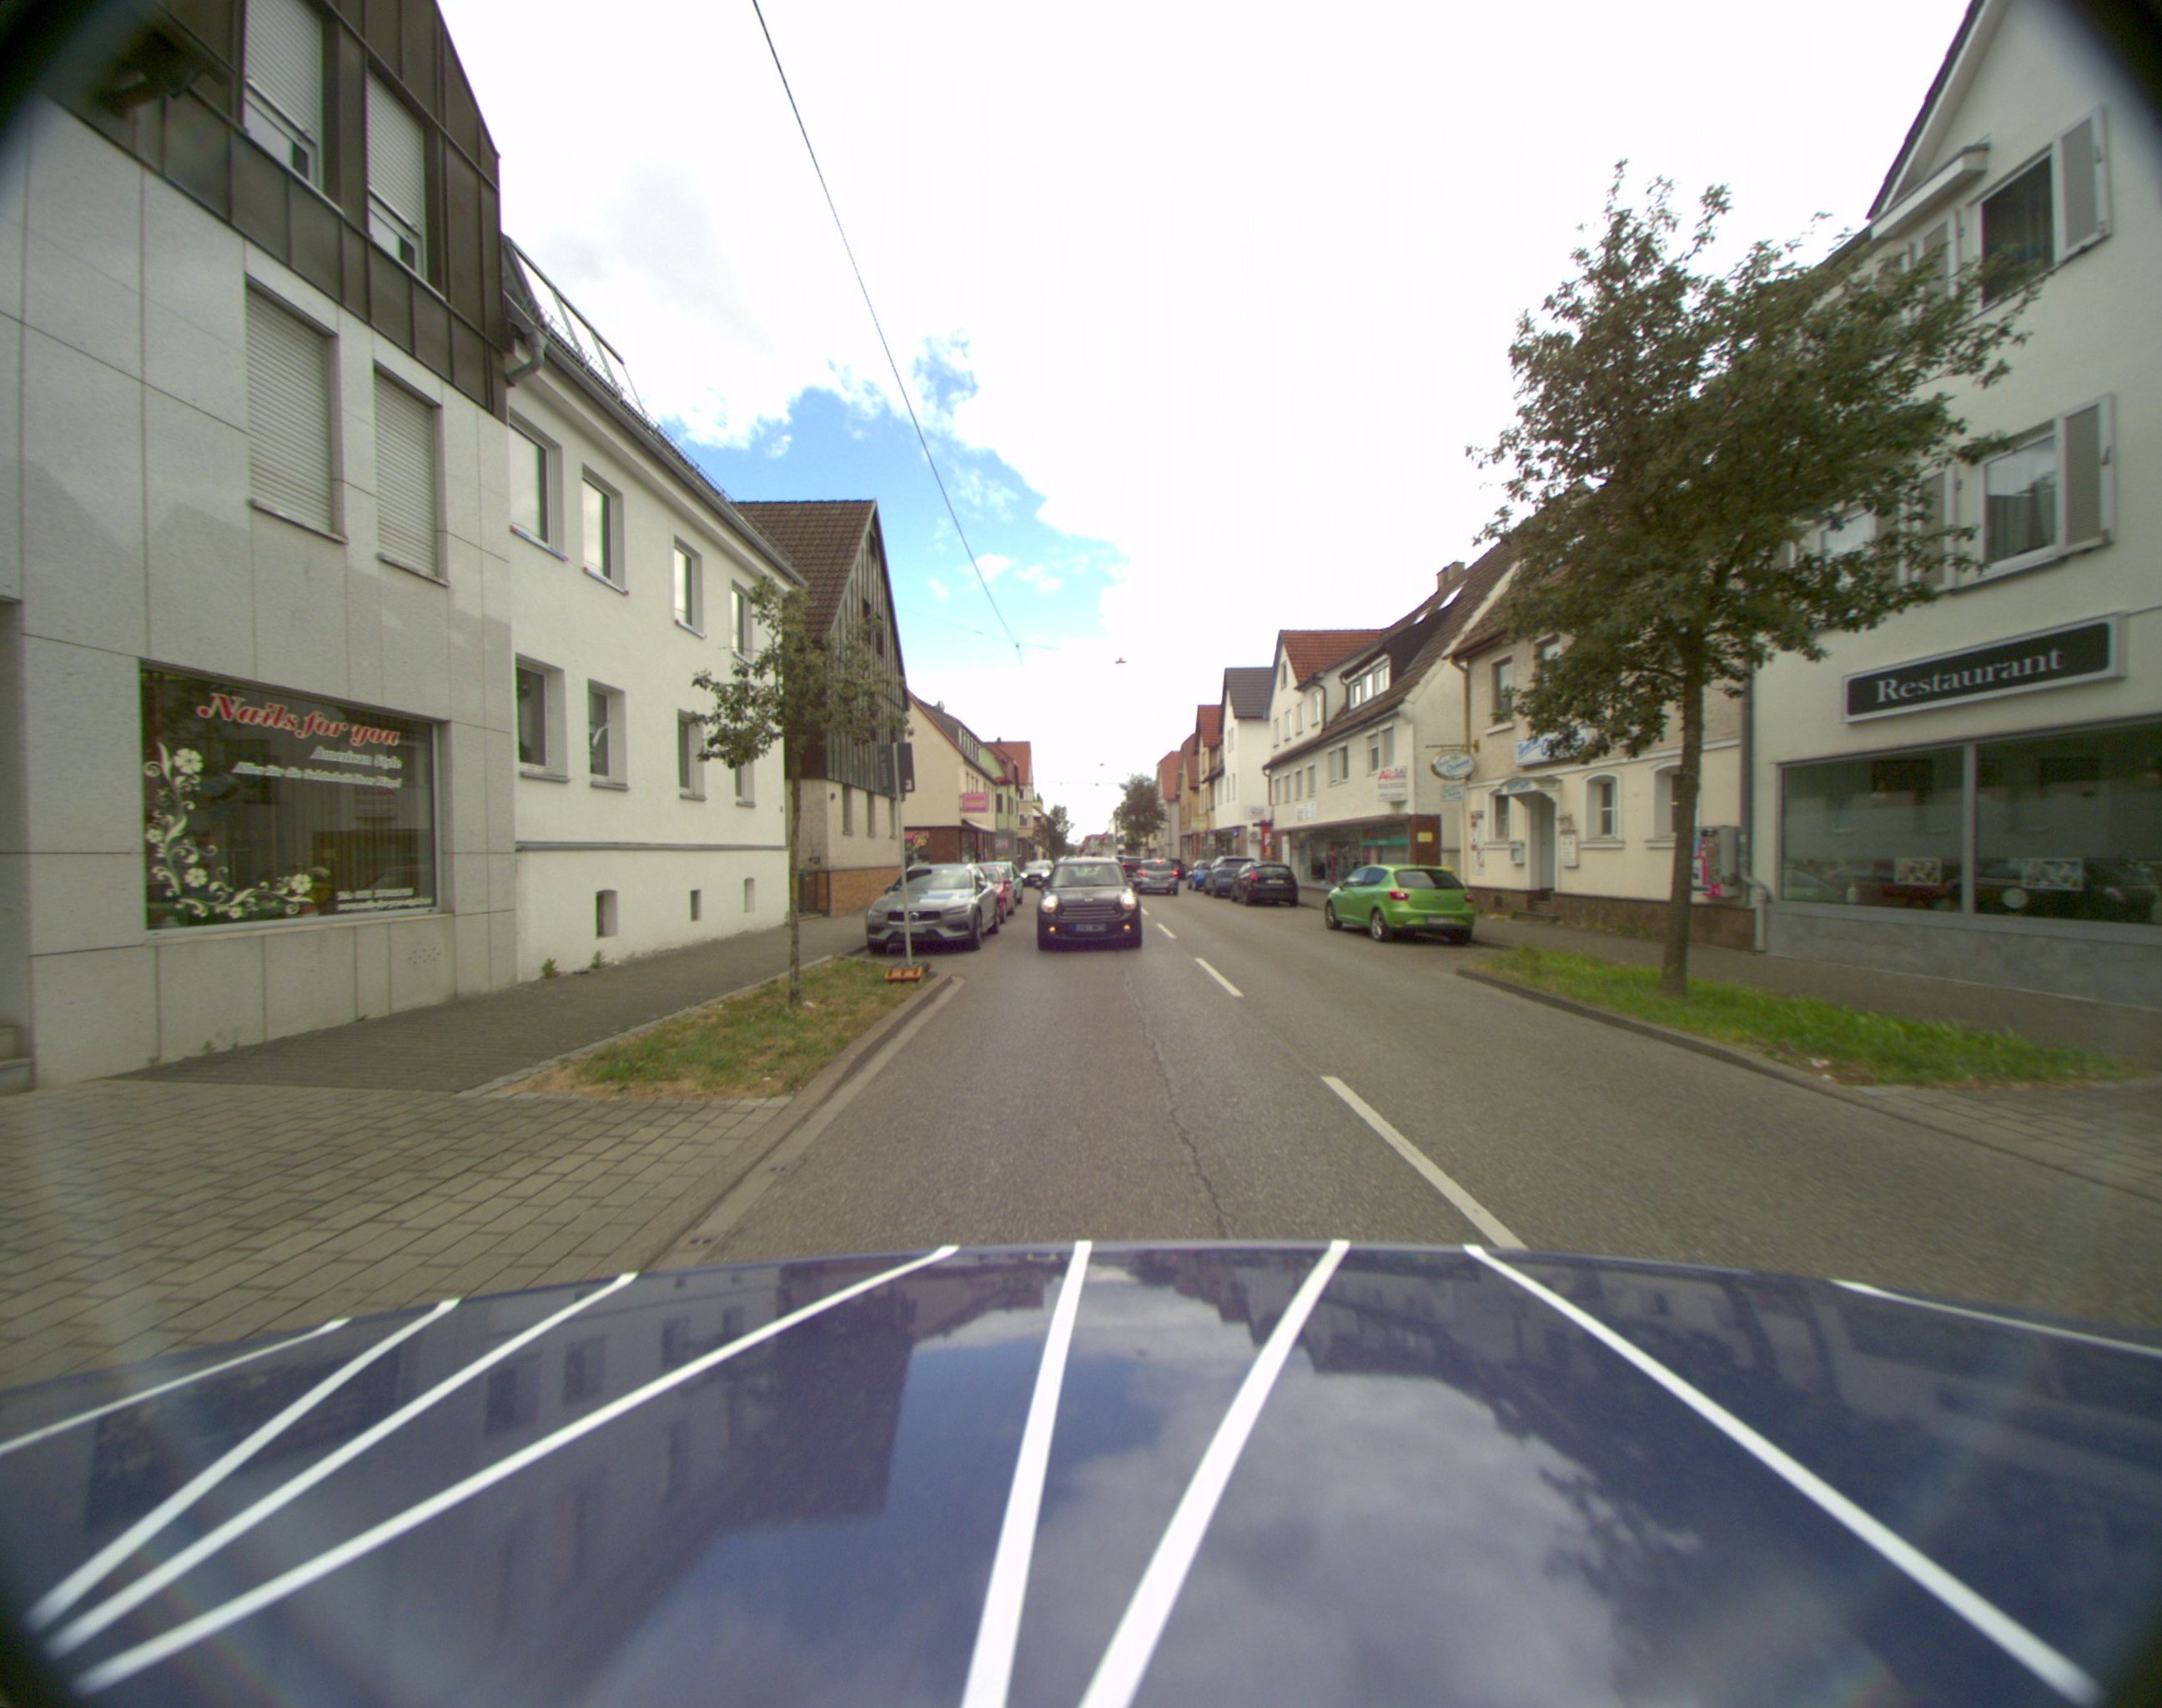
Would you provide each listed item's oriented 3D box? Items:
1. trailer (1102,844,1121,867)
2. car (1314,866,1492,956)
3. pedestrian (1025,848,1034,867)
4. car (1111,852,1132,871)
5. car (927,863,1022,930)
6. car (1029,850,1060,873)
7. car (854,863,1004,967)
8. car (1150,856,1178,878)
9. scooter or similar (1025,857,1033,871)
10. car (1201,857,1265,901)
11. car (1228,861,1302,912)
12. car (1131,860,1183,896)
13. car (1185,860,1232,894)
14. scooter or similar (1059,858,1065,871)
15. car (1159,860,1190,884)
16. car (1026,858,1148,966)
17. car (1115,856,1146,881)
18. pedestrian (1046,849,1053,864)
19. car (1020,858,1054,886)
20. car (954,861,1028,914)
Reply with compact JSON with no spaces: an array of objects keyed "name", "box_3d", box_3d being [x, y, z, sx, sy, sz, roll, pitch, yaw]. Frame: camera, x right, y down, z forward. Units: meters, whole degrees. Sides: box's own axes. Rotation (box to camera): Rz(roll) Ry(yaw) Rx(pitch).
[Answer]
[{"name":"trailer","box_3d":[4.524,0.172,113.175,2.509,3.201,7.133,-1,1,0]},{"name":"car","box_3d":[6.118,1.001,14.982,1.687,1.439,4.019,1,0,-2]},{"name":"pedestrian","box_3d":[-4.763,0.356,70.525,0.752,1.710,0.900,-2,1,0]},{"name":"car","box_3d":[3.832,0.711,72.717,1.905,1.727,4.366,1,0,1]},{"name":"car","box_3d":[-2.638,1.015,19.846,1.759,1.437,4.454,-2,0,1]},{"name":"car","box_3d":[-2.360,0.463,50.169,1.836,1.437,4.331,-2,0,-1]},{"name":"car","box_3d":[-2.659,0.995,14.384,1.880,1.530,4.512,-2,0,0]},{"name":"car","box_3d":[6.386,0.981,58.795,1.714,1.557,4.113,1,0,1]},{"name":"scooter or similar","box_3d":[-4.781,0.939,69.597,0.591,1.225,0.891,-2,1,0]},{"name":"car","box_3d":[6.044,0.963,30.660,1.807,1.589,4.304,1,0,1]},{"name":"car","box_3d":[6.074,1.037,25.499,1.585,1.499,3.812,1,0,1]},{"name":"car","box_3d":[3.218,0.990,32.863,1.687,1.439,4.019,1,0,-2]},{"name":"car","box_3d":[6.108,1.083,36.772,1.686,1.490,3.775,1,0,1]},{"name":"scooter or similar","box_3d":[-1.833,1.037,73.355,0.503,1.228,1.942,-2,0,0]},{"name":"car","box_3d":[6.405,1.216,52.288,1.686,1.484,3.591,1,0,1]},{"name":"car","box_3d":[0.101,0.929,14.275,1.847,1.571,4.429,-3,0,0]},{"name":"car","box_3d":[3.204,0.914,49.707,1.799,1.569,4.192,1,0,1]},{"name":"pedestrian","box_3d":[-4.540,0.399,108.263,0.826,2.062,1.011,2,1,3]},{"name":"car","box_3d":[-2.523,1.005,43.823,1.836,1.437,4.108,-2,0,-3]},{"name":"car","box_3d":[-2.863,1.032,24.947,1.835,1.489,3.993,-2,0,1]}]
